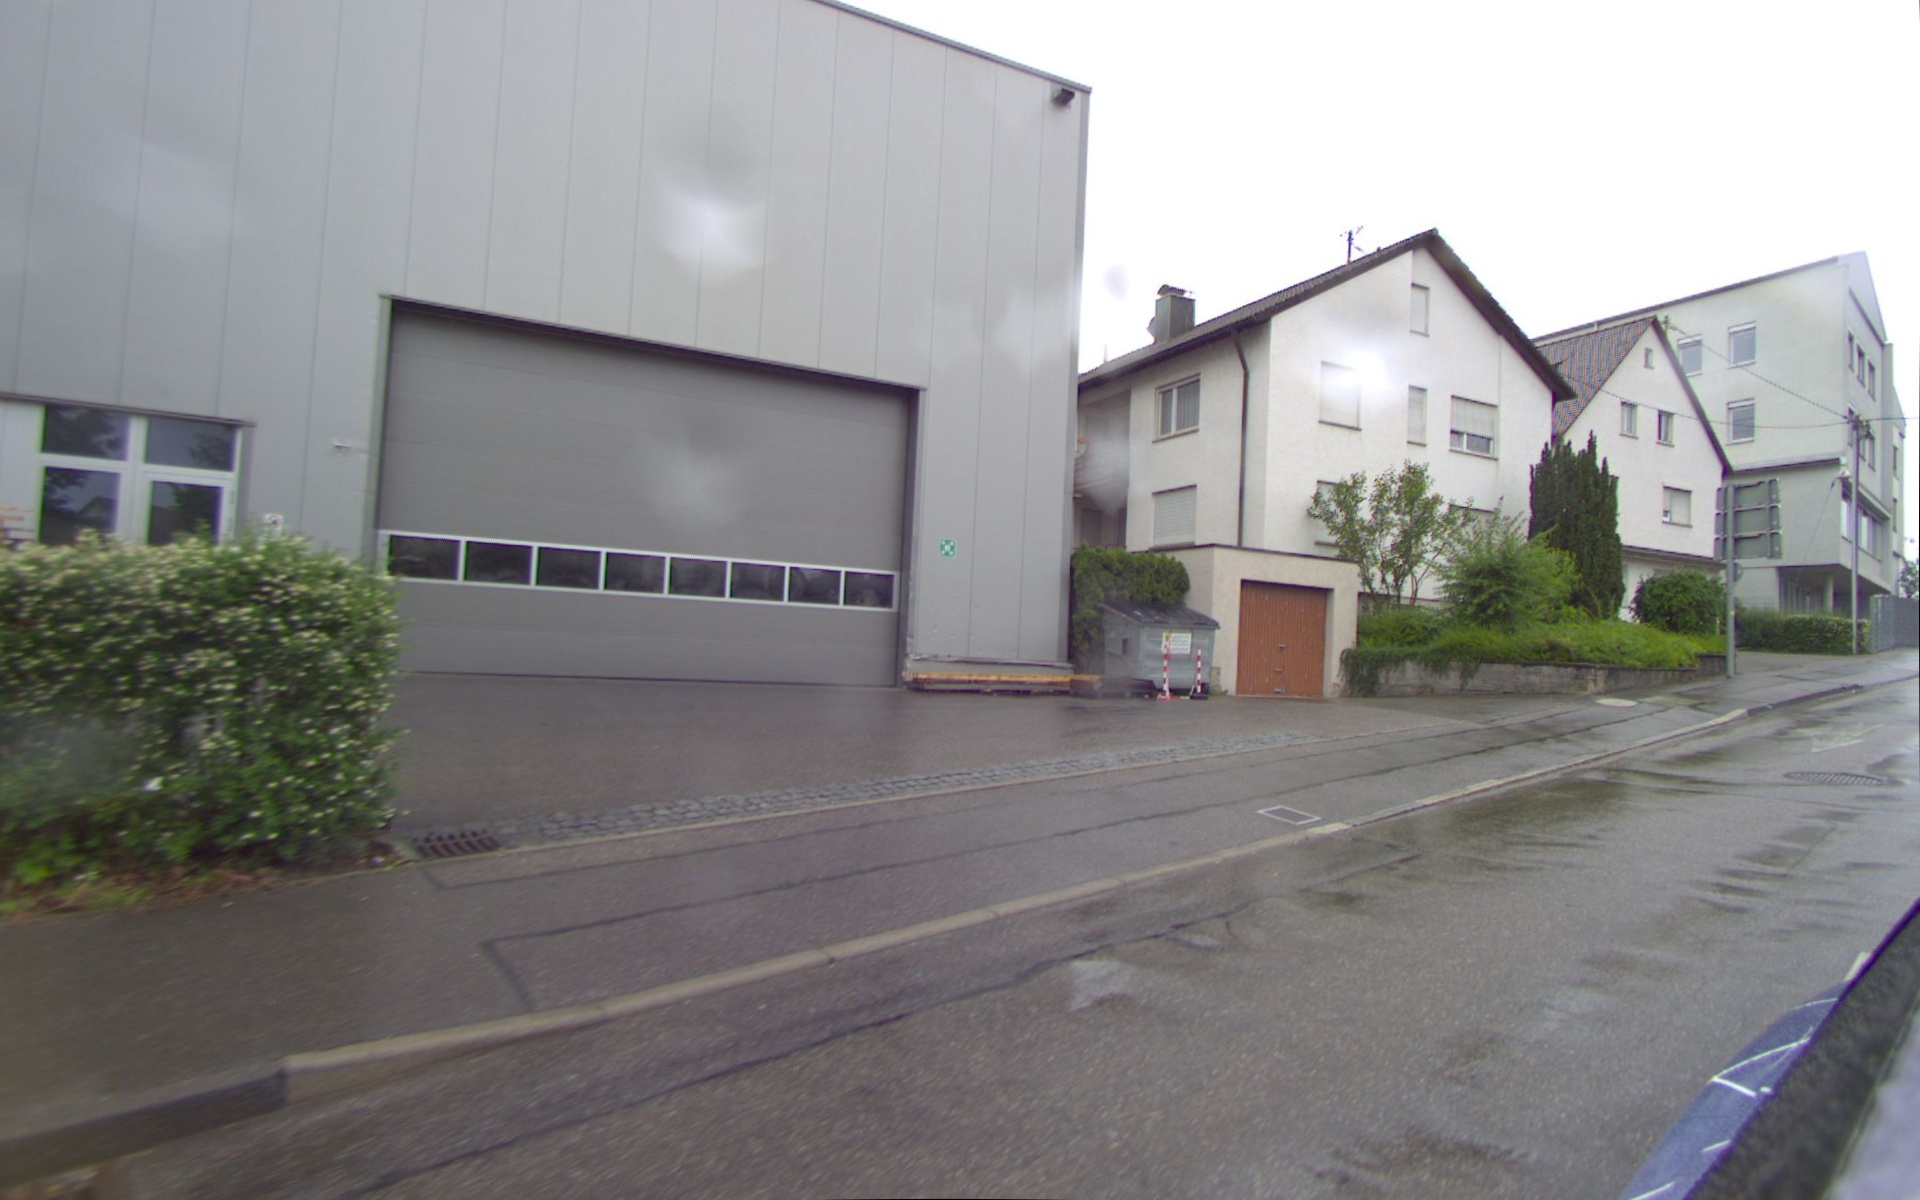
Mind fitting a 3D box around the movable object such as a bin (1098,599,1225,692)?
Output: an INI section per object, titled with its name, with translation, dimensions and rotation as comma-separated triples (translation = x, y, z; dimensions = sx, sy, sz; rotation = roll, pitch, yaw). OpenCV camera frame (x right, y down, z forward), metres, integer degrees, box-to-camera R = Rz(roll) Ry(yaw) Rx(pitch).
[movable object such as a bin]
translation = 3.517, 0.776, 17.764
dimensions = 1.742, 1.537, 1.268
rotation = 2, 0, -25
